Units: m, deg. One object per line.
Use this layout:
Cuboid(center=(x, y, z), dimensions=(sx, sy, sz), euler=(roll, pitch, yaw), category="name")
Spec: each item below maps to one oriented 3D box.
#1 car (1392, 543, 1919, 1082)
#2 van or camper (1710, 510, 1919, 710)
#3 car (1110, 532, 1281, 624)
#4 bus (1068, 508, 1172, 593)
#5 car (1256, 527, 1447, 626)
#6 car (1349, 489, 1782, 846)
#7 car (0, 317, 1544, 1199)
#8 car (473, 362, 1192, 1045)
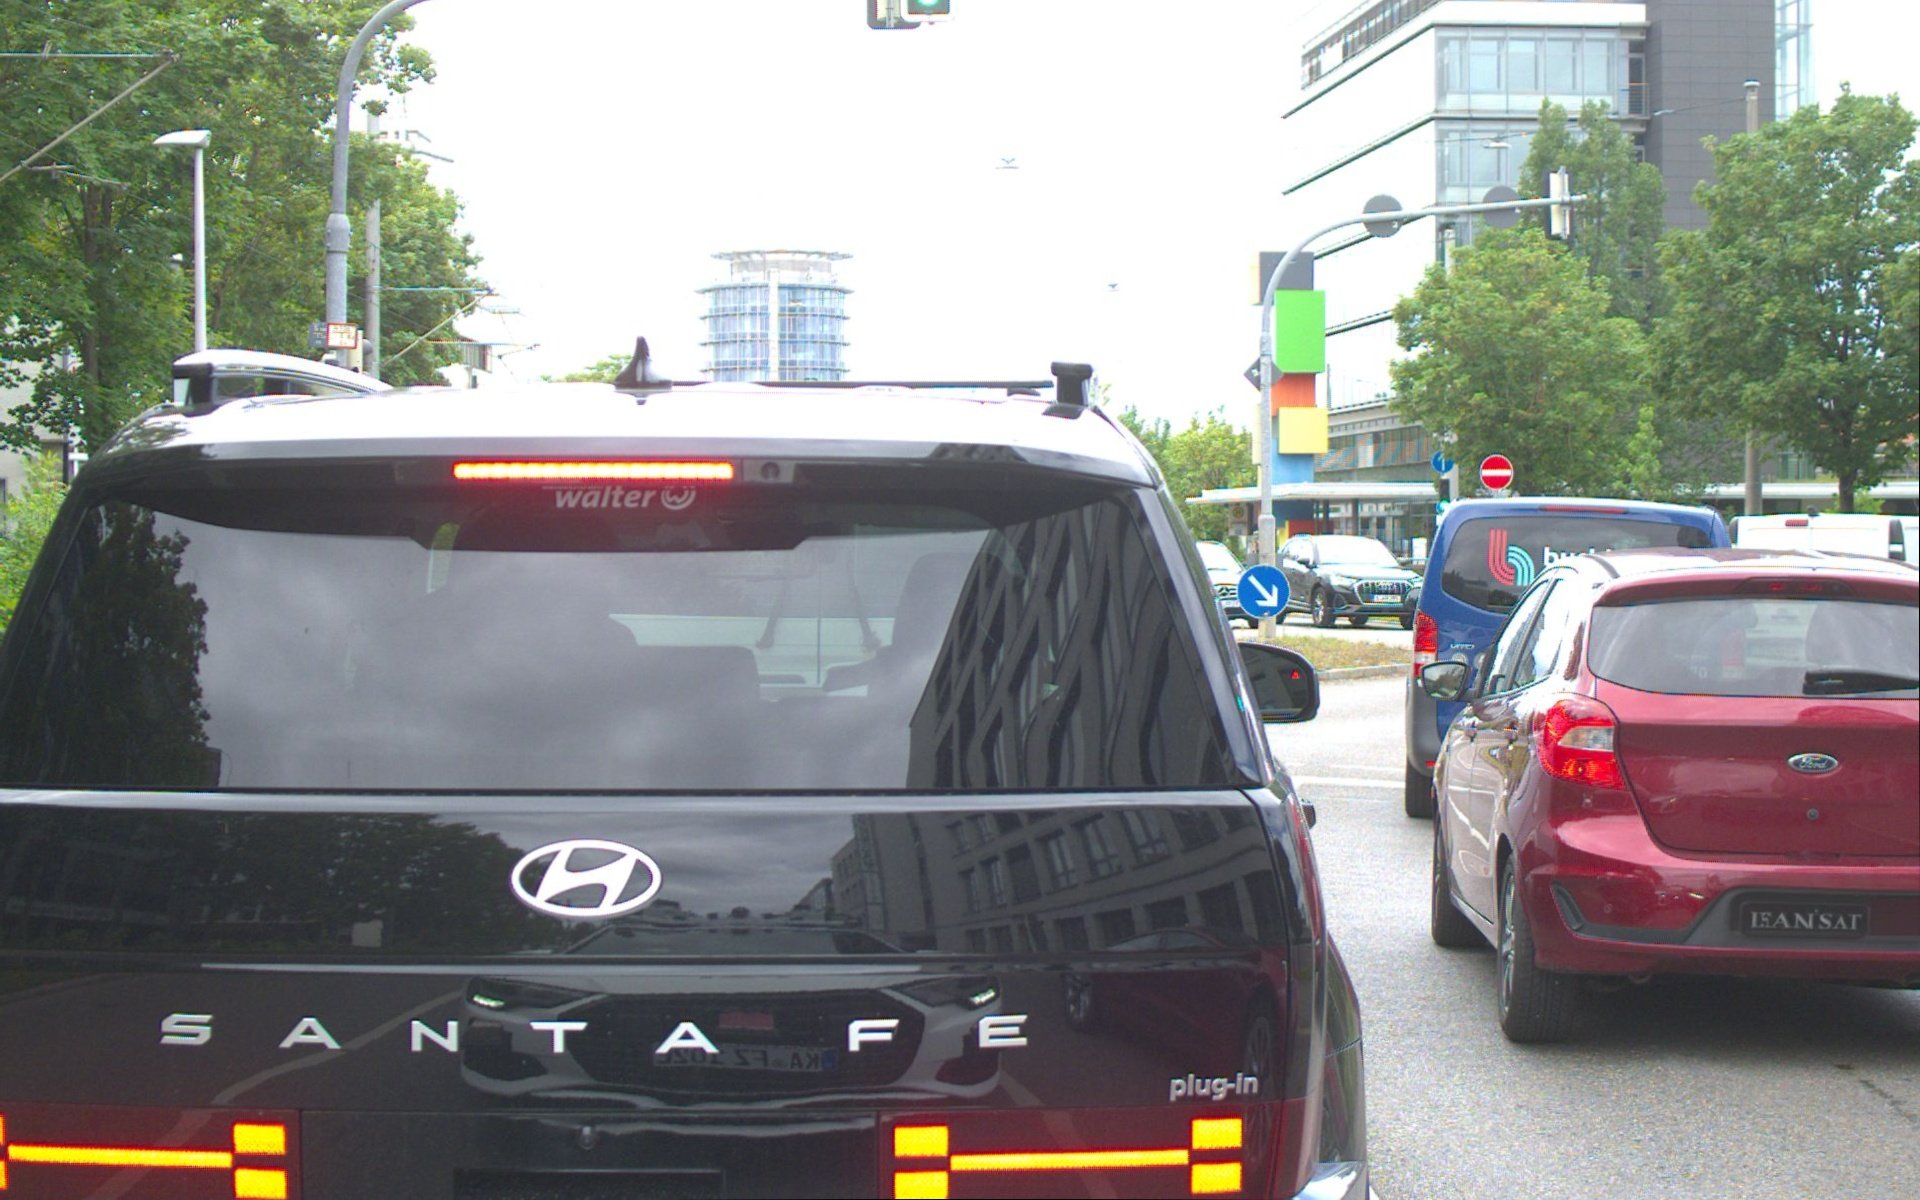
Cuboid(center=(2.506, 0.571, 11.488), dimensions=(1.745, 1.476, 3.718), euler=(1, 1, 2), category="car")
Cuboid(center=(9.360, 0.033, 35.987), dimensions=(1.996, 1.911, 4.403), euler=(2, 2, 25), category="van or camper")
Cuboid(center=(3.975, -0.403, 58.689), dimensions=(1.782, 1.421, 4.397), euler=(1, 2, -11), category="car")
Cuboid(center=(6.134, -1.878, 133.220), dimensions=(2.966, 3.106, 9.245), euler=(-1, 0, -4), category="bus")
Cuboid(center=(6.771, -0.440, 59.973), dimensions=(1.887, 1.559, 4.397), euler=(1, 2, -13), category="car")
Cuboid(center=(3.502, 0.313, 20.741), dimensions=(1.902, 1.852, 4.709), euler=(2, 1, 2), category="car")
Cuboid(center=(-0.397, 0.543, 5.780), dimensions=(1.902, 1.725, 4.446), euler=(2, 1, -1), category="car")
Cuboid(center=(-0.235, 0.258, 12.499), dimensions=(1.902, 1.962, 4.635), euler=(2, 1, 6), category="car")
